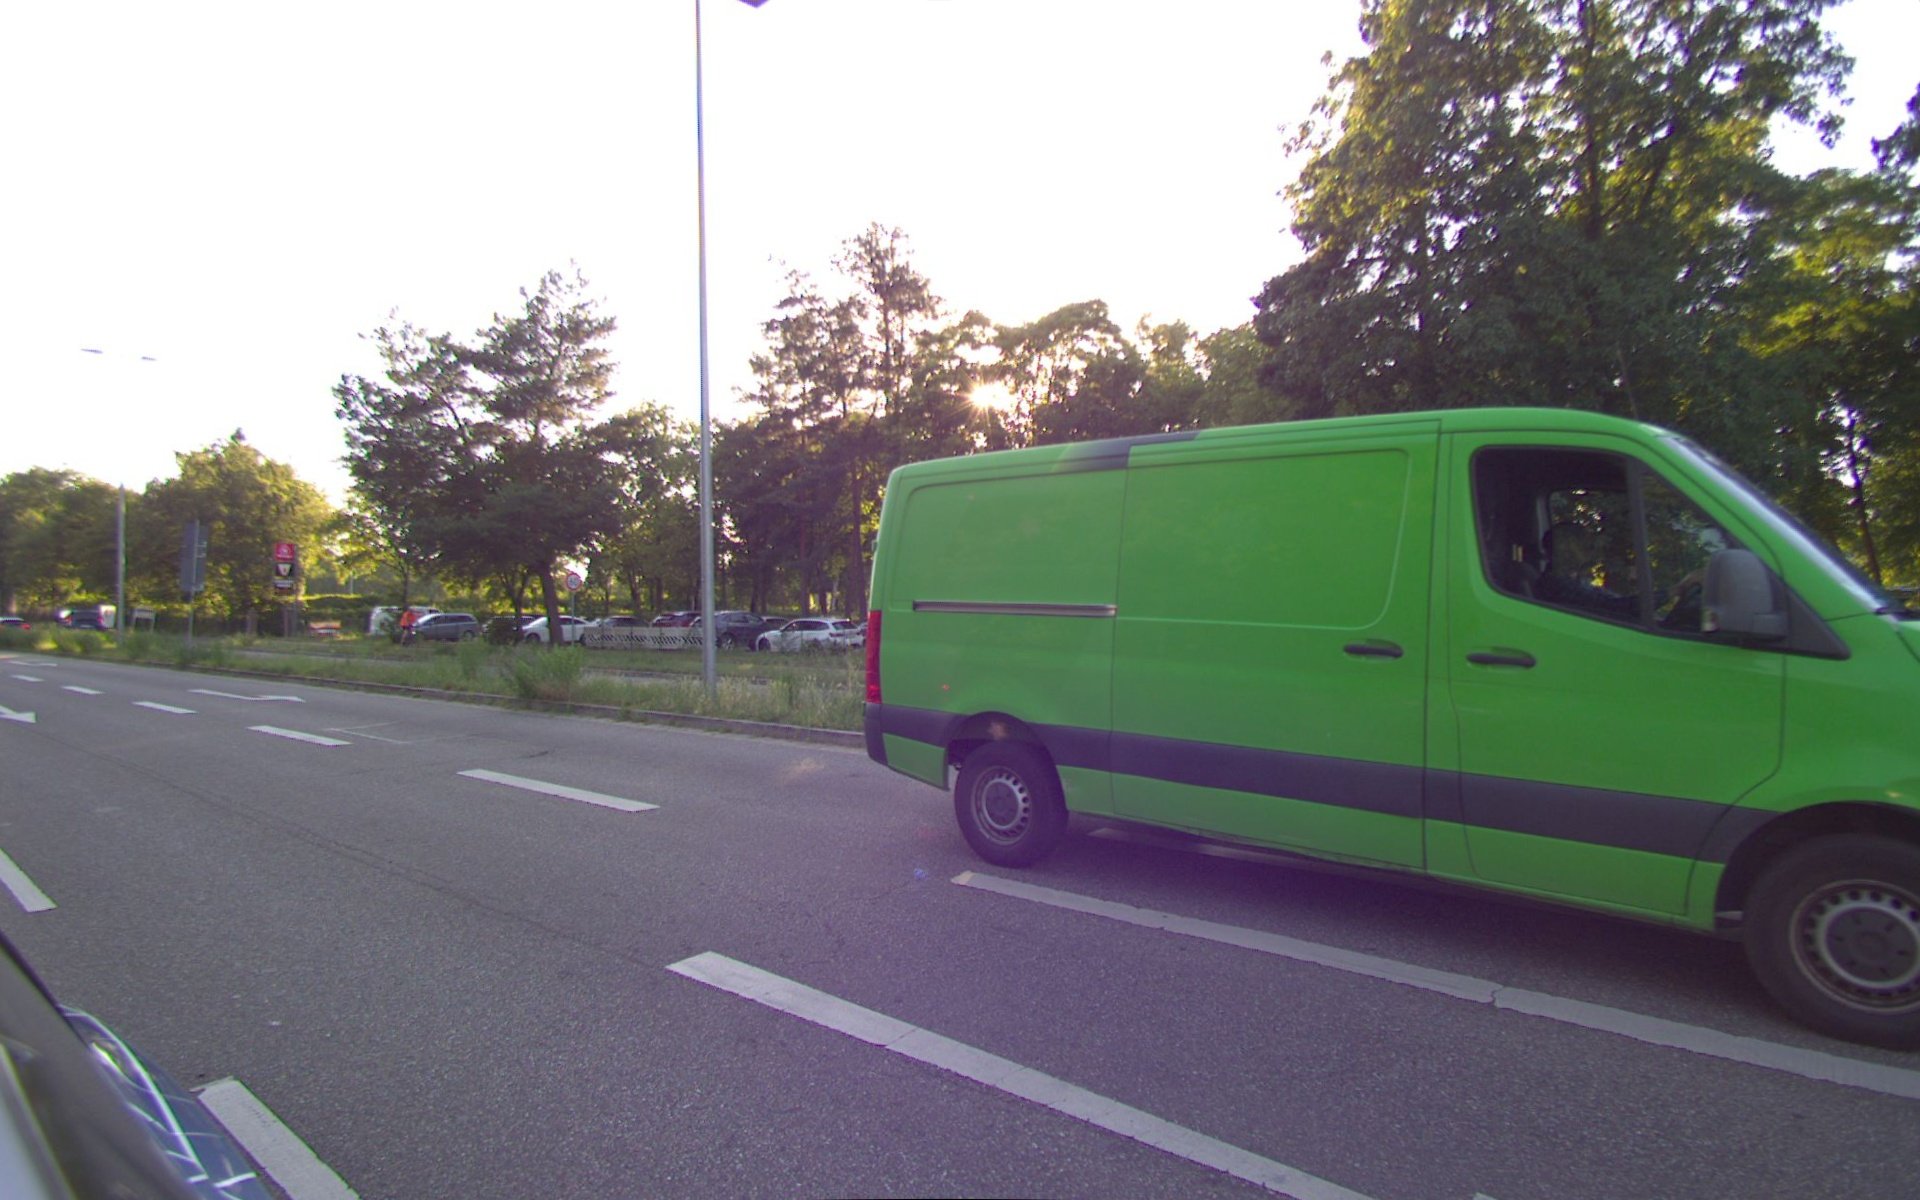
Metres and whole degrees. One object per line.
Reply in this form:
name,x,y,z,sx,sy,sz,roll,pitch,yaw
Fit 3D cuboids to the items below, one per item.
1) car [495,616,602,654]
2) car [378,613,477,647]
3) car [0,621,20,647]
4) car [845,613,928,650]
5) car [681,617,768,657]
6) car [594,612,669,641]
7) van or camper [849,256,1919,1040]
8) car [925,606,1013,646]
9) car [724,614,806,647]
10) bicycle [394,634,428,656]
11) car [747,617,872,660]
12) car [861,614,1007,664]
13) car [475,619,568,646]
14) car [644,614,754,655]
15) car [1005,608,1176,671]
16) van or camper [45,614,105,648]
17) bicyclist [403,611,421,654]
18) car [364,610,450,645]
car,-19.966,1.670,49.259,1.908,1.767,4.441,-1,-2,40
car,-29.429,1.667,56.060,1.907,1.811,4.443,-1,-2,38
car,-57.746,1.985,60.095,4.504,1.506,1.975,-1,-2,36
car,-3.484,1.488,48.424,1.765,1.663,3.947,-1,-2,39
car,-9.410,1.450,40.619,1.657,1.538,3.060,-1,-2,39
car,-19.634,1.569,60.652,1.765,1.663,3.947,-1,-2,40
van or camper,2.171,0.188,5.155,5.892,2.439,1.973,-1,-2,41
car,0.442,1.134,44.481,1.765,1.663,3.947,-1,-2,39
car,-10.057,1.568,52.341,1.765,1.663,3.947,-1,-2,40
bicycle,-24.203,1.985,44.630,2.040,0.940,0.487,-1,-2,36
car,-5.790,1.442,38.678,4.702,1.560,1.975,-1,-2,37
car,-0.939,1.305,34.964,4.913,1.619,1.975,-1,-2,37
car,-22.102,1.634,51.112,1.731,1.322,3.947,-1,-2,40
car,-11.119,1.453,43.374,1.769,1.629,4.470,-1,-2,37
car,3.972,1.188,31.167,4.913,1.800,1.975,-1,-2,37
van or camper,-55.952,1.937,63.975,4.570,2.029,1.975,-1,-2,37
bicyclist,-24.170,1.425,44.621,0.617,1.888,0.454,-1,-2,36
car,-31.689,1.582,58.100,1.764,1.959,3.949,-1,-2,38
